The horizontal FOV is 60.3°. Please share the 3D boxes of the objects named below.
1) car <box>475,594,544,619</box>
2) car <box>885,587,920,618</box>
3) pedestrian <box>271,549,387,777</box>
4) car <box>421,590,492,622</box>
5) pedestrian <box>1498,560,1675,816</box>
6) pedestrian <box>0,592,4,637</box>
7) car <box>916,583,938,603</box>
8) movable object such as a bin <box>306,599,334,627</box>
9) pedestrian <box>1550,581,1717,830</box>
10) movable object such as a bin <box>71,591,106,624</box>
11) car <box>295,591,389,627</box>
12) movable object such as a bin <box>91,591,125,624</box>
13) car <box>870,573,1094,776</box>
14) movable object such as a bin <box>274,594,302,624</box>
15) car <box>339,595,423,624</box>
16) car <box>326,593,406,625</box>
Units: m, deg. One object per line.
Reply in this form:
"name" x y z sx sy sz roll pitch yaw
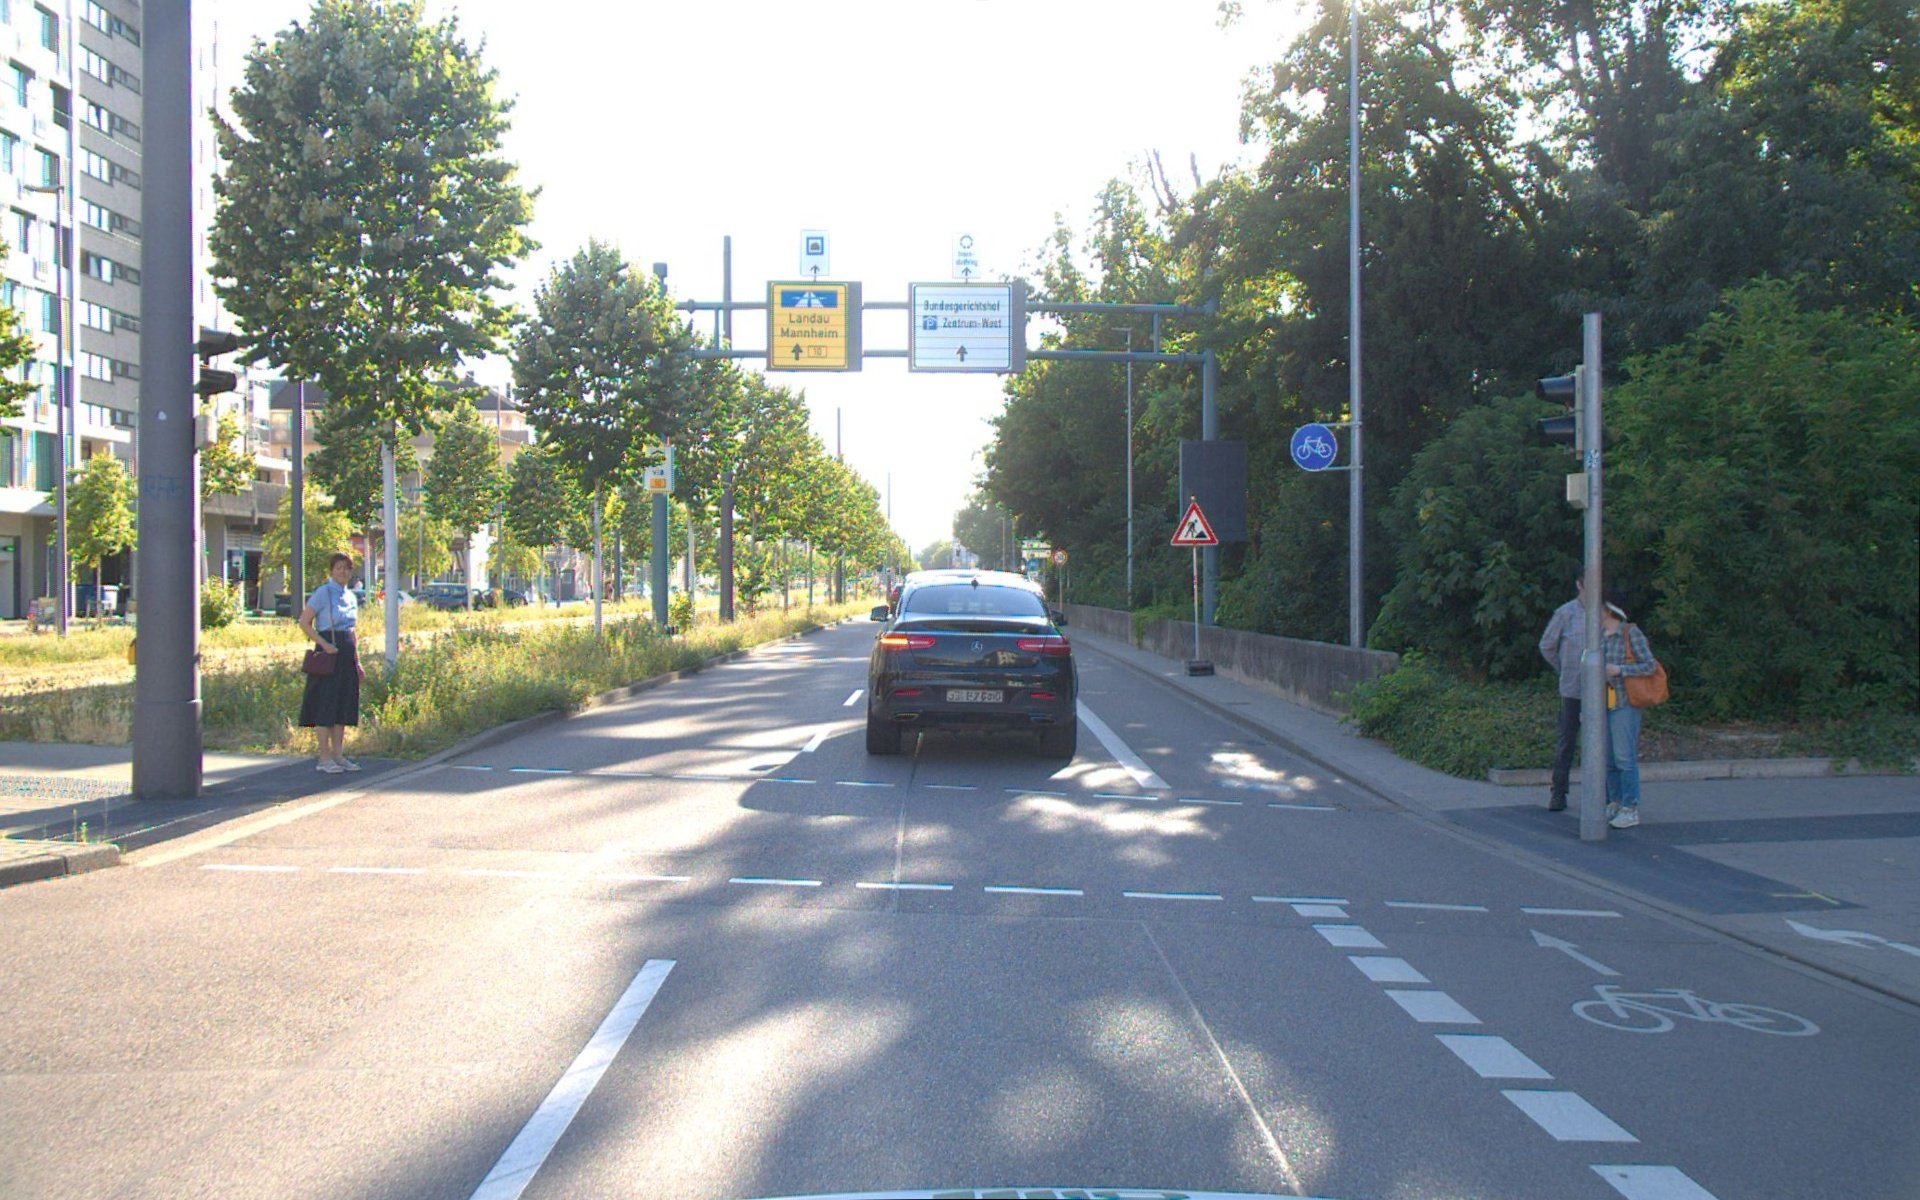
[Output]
"car" -30.192 0.414 110.878 3.966 1.590 1.969 1 0 -43
"car" -3.200 0.125 92.610 1.847 1.608 3.999 1 1 -1
"pedestrian" -4.916 0.474 12.921 0.586 1.729 0.714 0 0 5
"car" -30.681 0.384 100.811 3.724 1.861 1.798 1 0 -41
"pedestrian" 4.749 0.635 12.559 0.849 1.833 0.896 -2 0 -35
"pedestrian" -36.170 0.529 61.389 0.826 1.682 0.970 0 0 1
"car" -2.806 -0.613 142.829 1.847 1.608 3.999 1 1 -1
"movable object such as a bin" -30.320 0.612 78.335 0.839 1.303 0.940 0 0 14
"pedestrian" 4.733 0.713 11.663 0.752 1.665 0.768 -2 0 -10
"movable object such as a bin" -38.671 0.318 73.386 0.784 1.465 1.403 0 0 0
"car" -31.214 0.479 83.545 4.060 1.629 1.724 2 0 -42
"movable object such as a bin" -37.816 0.336 73.394 0.784 1.465 1.403 0 0 0
"car" 0.097 0.641 16.573 1.954 1.765 3.998 1 0 -3
"movable object such as a bin" -31.677 0.432 77.999 0.839 1.381 0.940 0 0 14
"car" -31.471 0.526 89.986 1.754 1.478 3.977 1 0 41
"car" -31.272 0.479 87.135 3.593 1.550 1.596 2 0 -42
